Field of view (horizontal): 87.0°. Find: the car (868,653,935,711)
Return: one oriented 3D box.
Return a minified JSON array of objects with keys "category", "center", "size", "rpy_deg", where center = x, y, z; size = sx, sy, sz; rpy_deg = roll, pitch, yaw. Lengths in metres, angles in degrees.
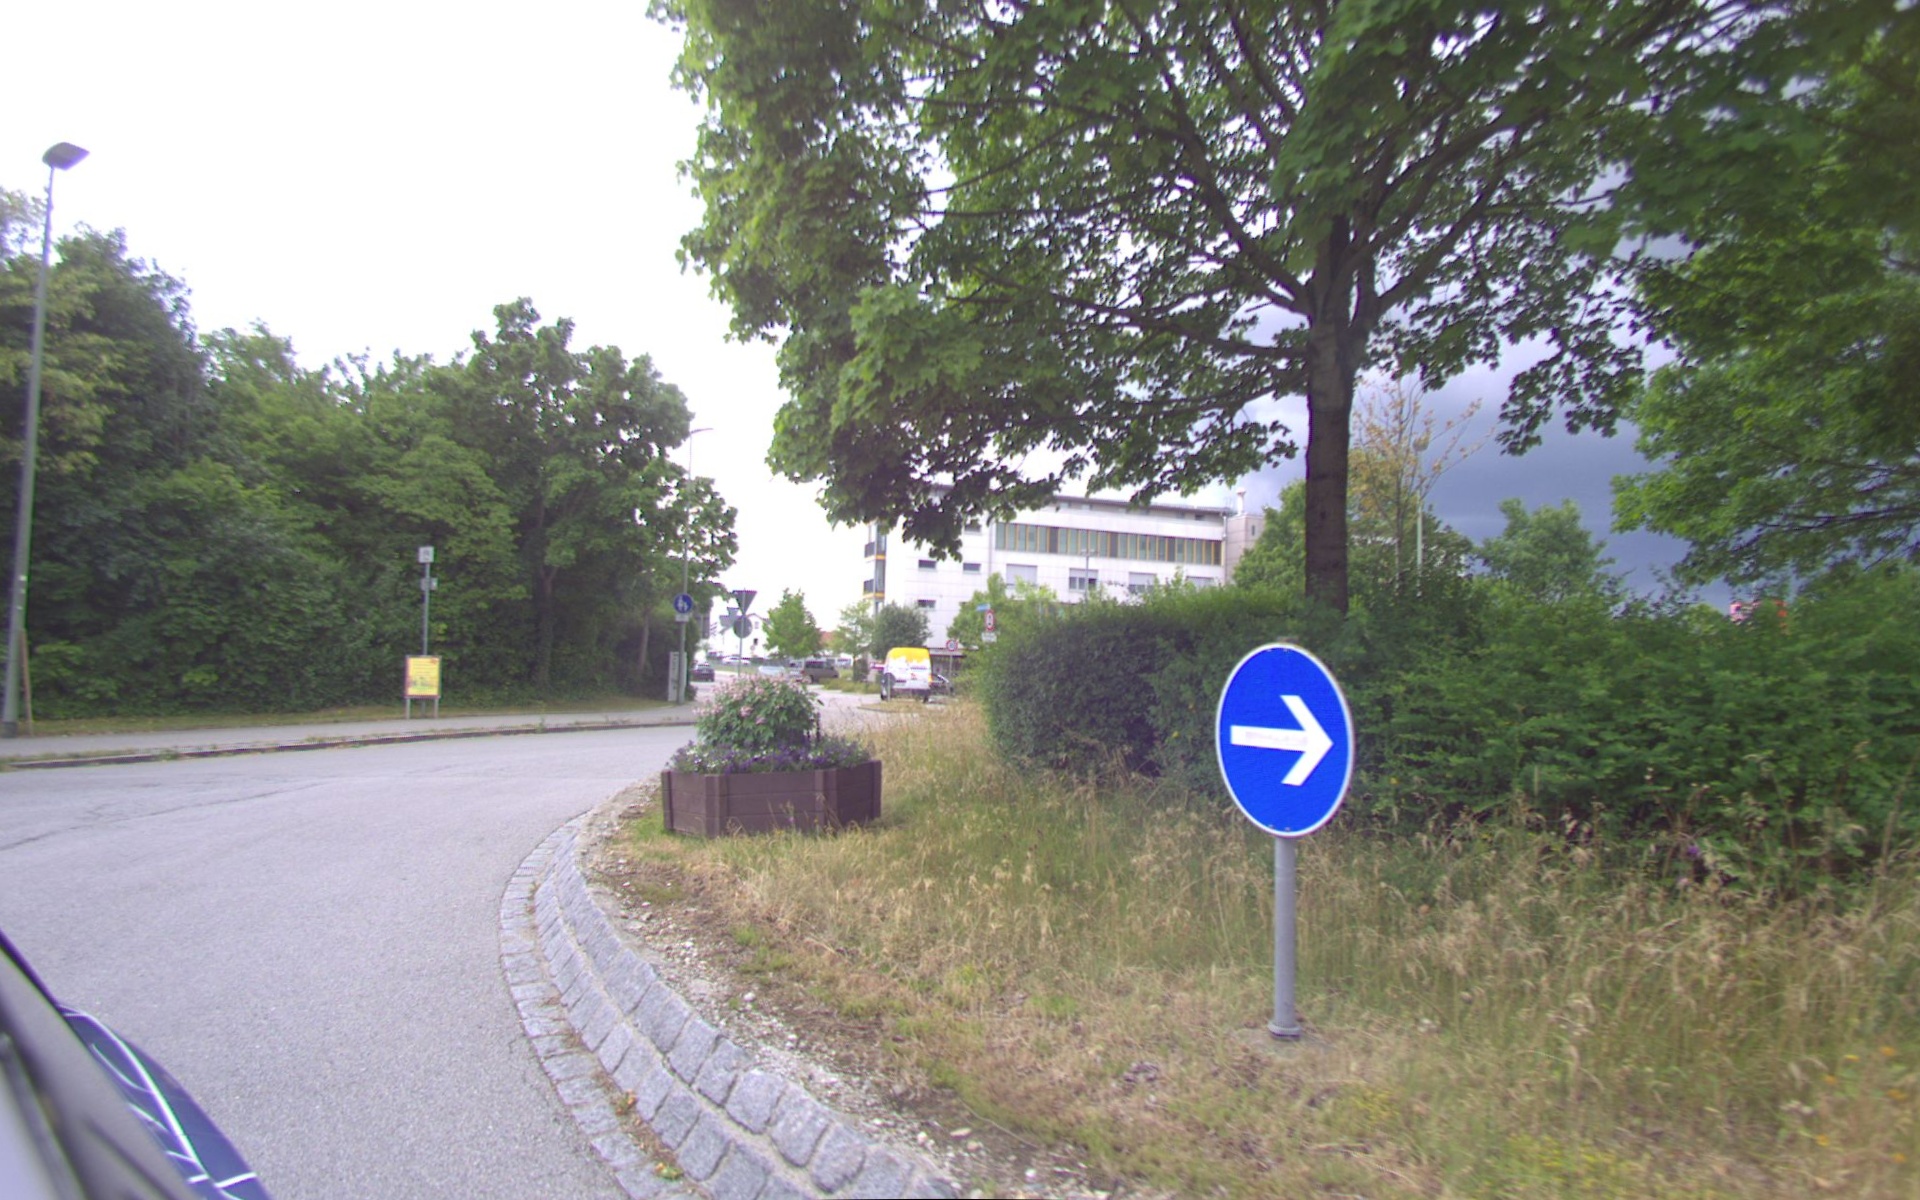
[{"category":"car","center":[-2.796,3.858,47.529],"size":[2.152,2.476,4.525],"rpy_deg":[-1,-4,-15]}]

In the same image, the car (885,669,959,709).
[{"category":"car","center":[-2.074,4.862,55.532],"size":[3.943,2.029,2.000],"rpy_deg":[2,-4,0]}]

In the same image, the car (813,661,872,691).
[{"category":"car","center":[-8.609,5.587,74.267],"size":[3.932,2.029,2.006],"rpy_deg":[3,-4,-17]}]

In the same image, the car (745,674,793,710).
[{"category":"car","center":[-8.952,4.264,47.197],"size":[1.841,1.516,4.143],"rpy_deg":[-1,-4,-15]}]

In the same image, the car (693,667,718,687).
[{"category":"car","center":[-20.506,6.188,81.406],"size":[1.841,1.516,4.143],"rpy_deg":[-1,-4,-15]}]
